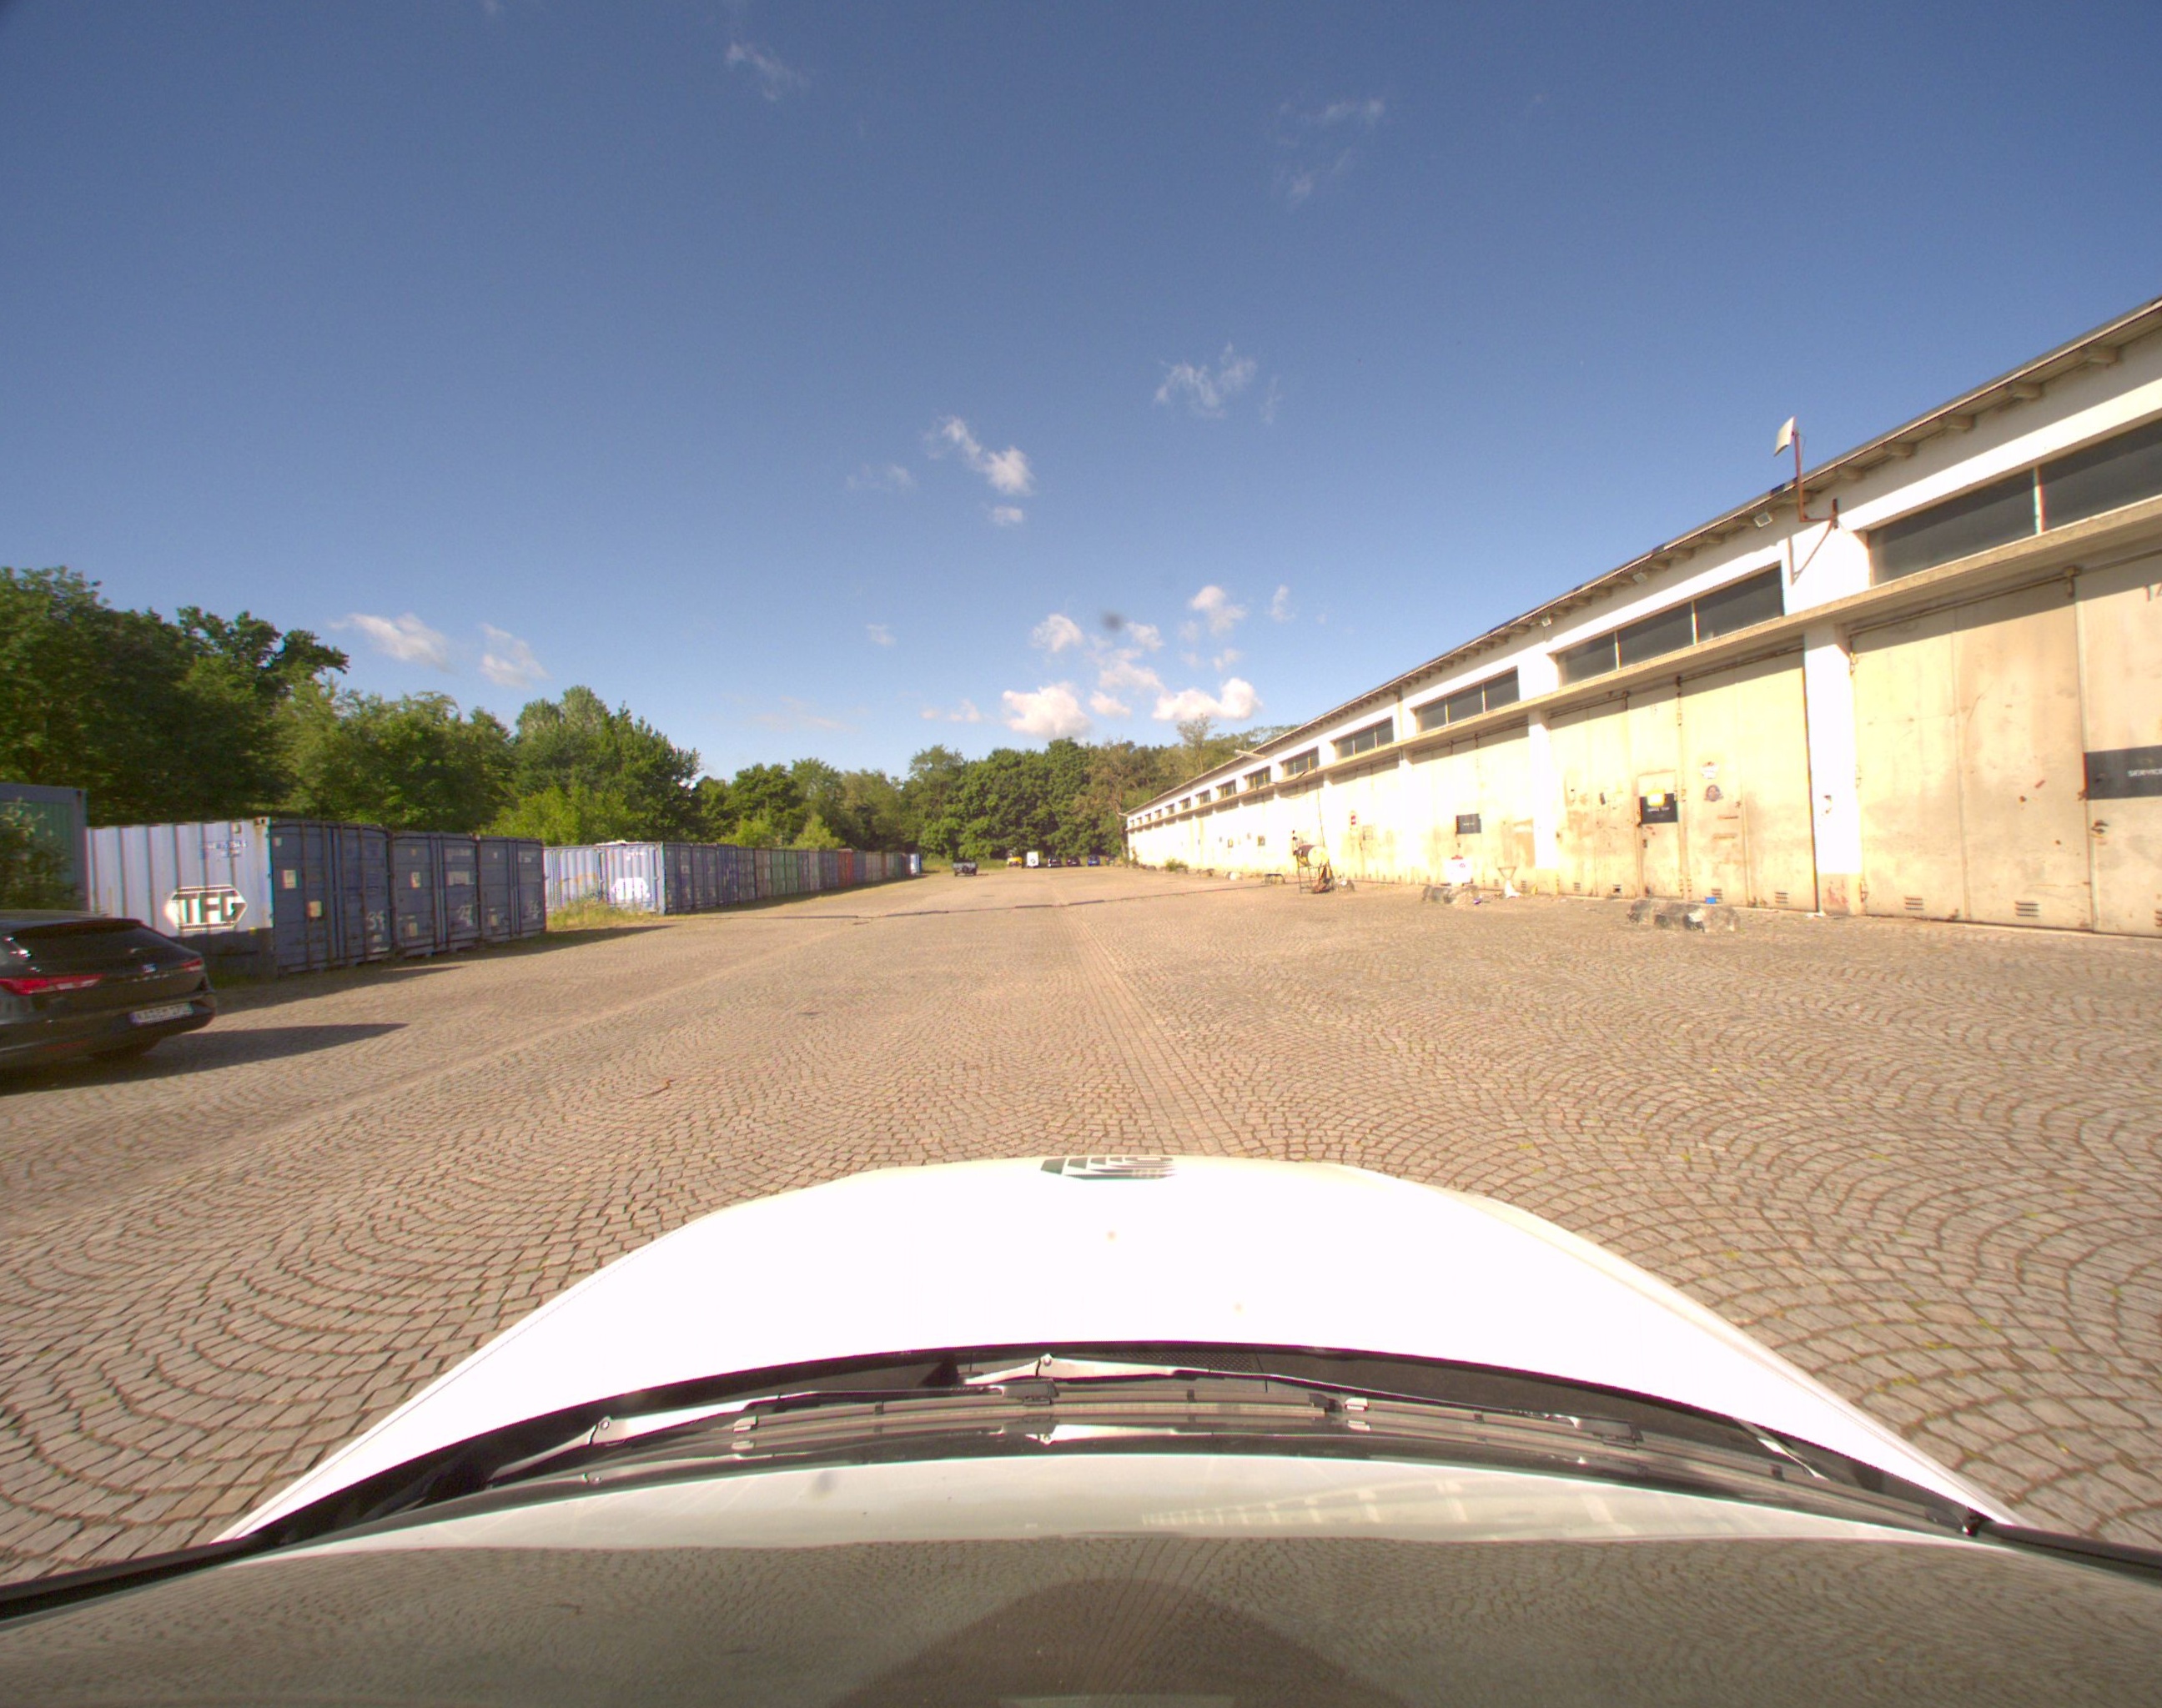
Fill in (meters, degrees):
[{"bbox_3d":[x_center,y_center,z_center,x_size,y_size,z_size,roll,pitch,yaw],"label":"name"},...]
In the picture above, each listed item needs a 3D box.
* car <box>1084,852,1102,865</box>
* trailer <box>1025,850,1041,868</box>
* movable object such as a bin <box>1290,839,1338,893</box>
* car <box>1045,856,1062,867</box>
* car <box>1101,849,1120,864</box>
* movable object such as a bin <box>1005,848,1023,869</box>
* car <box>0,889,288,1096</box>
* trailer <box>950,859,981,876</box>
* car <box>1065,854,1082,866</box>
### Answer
[{"bbox_3d":[1.552,0.585,105.609,1.990,1.466,3.995,-3,0,-4],"label":"car"},{"bbox_3d":[-6.264,0.619,105.934,1.990,2.162,4.425,-3,0,-4],"label":"trailer"},{"bbox_3d":[6.362,0.333,22.306,0.873,1.401,1.100,-3,0,-5],"label":"movable object such as a bin"},{"bbox_3d":[-3.514,0.938,104.888,1.990,1.258,3.995,-3,0,-4],"label":"car"},{"bbox_3d":[3.824,0.335,107.016,1.990,1.772,3.995,-3,0,-4],"label":"car"},{"bbox_3d":[-8.766,0.578,106.517,2.229,2.657,3.992,-3,0,-6],"label":"movable object such as a bin"},{"bbox_3d":[-10.053,1.173,6.882,4.410,1.464,1.995,-3,0,-7],"label":"car"},{"bbox_3d":[-12.305,1.393,86.928,2.786,1.646,5.612,-3,0,-4],"label":"trailer"},{"bbox_3d":[-1.023,0.771,105.438,1.990,1.424,3.995,-3,0,-4],"label":"car"}]
